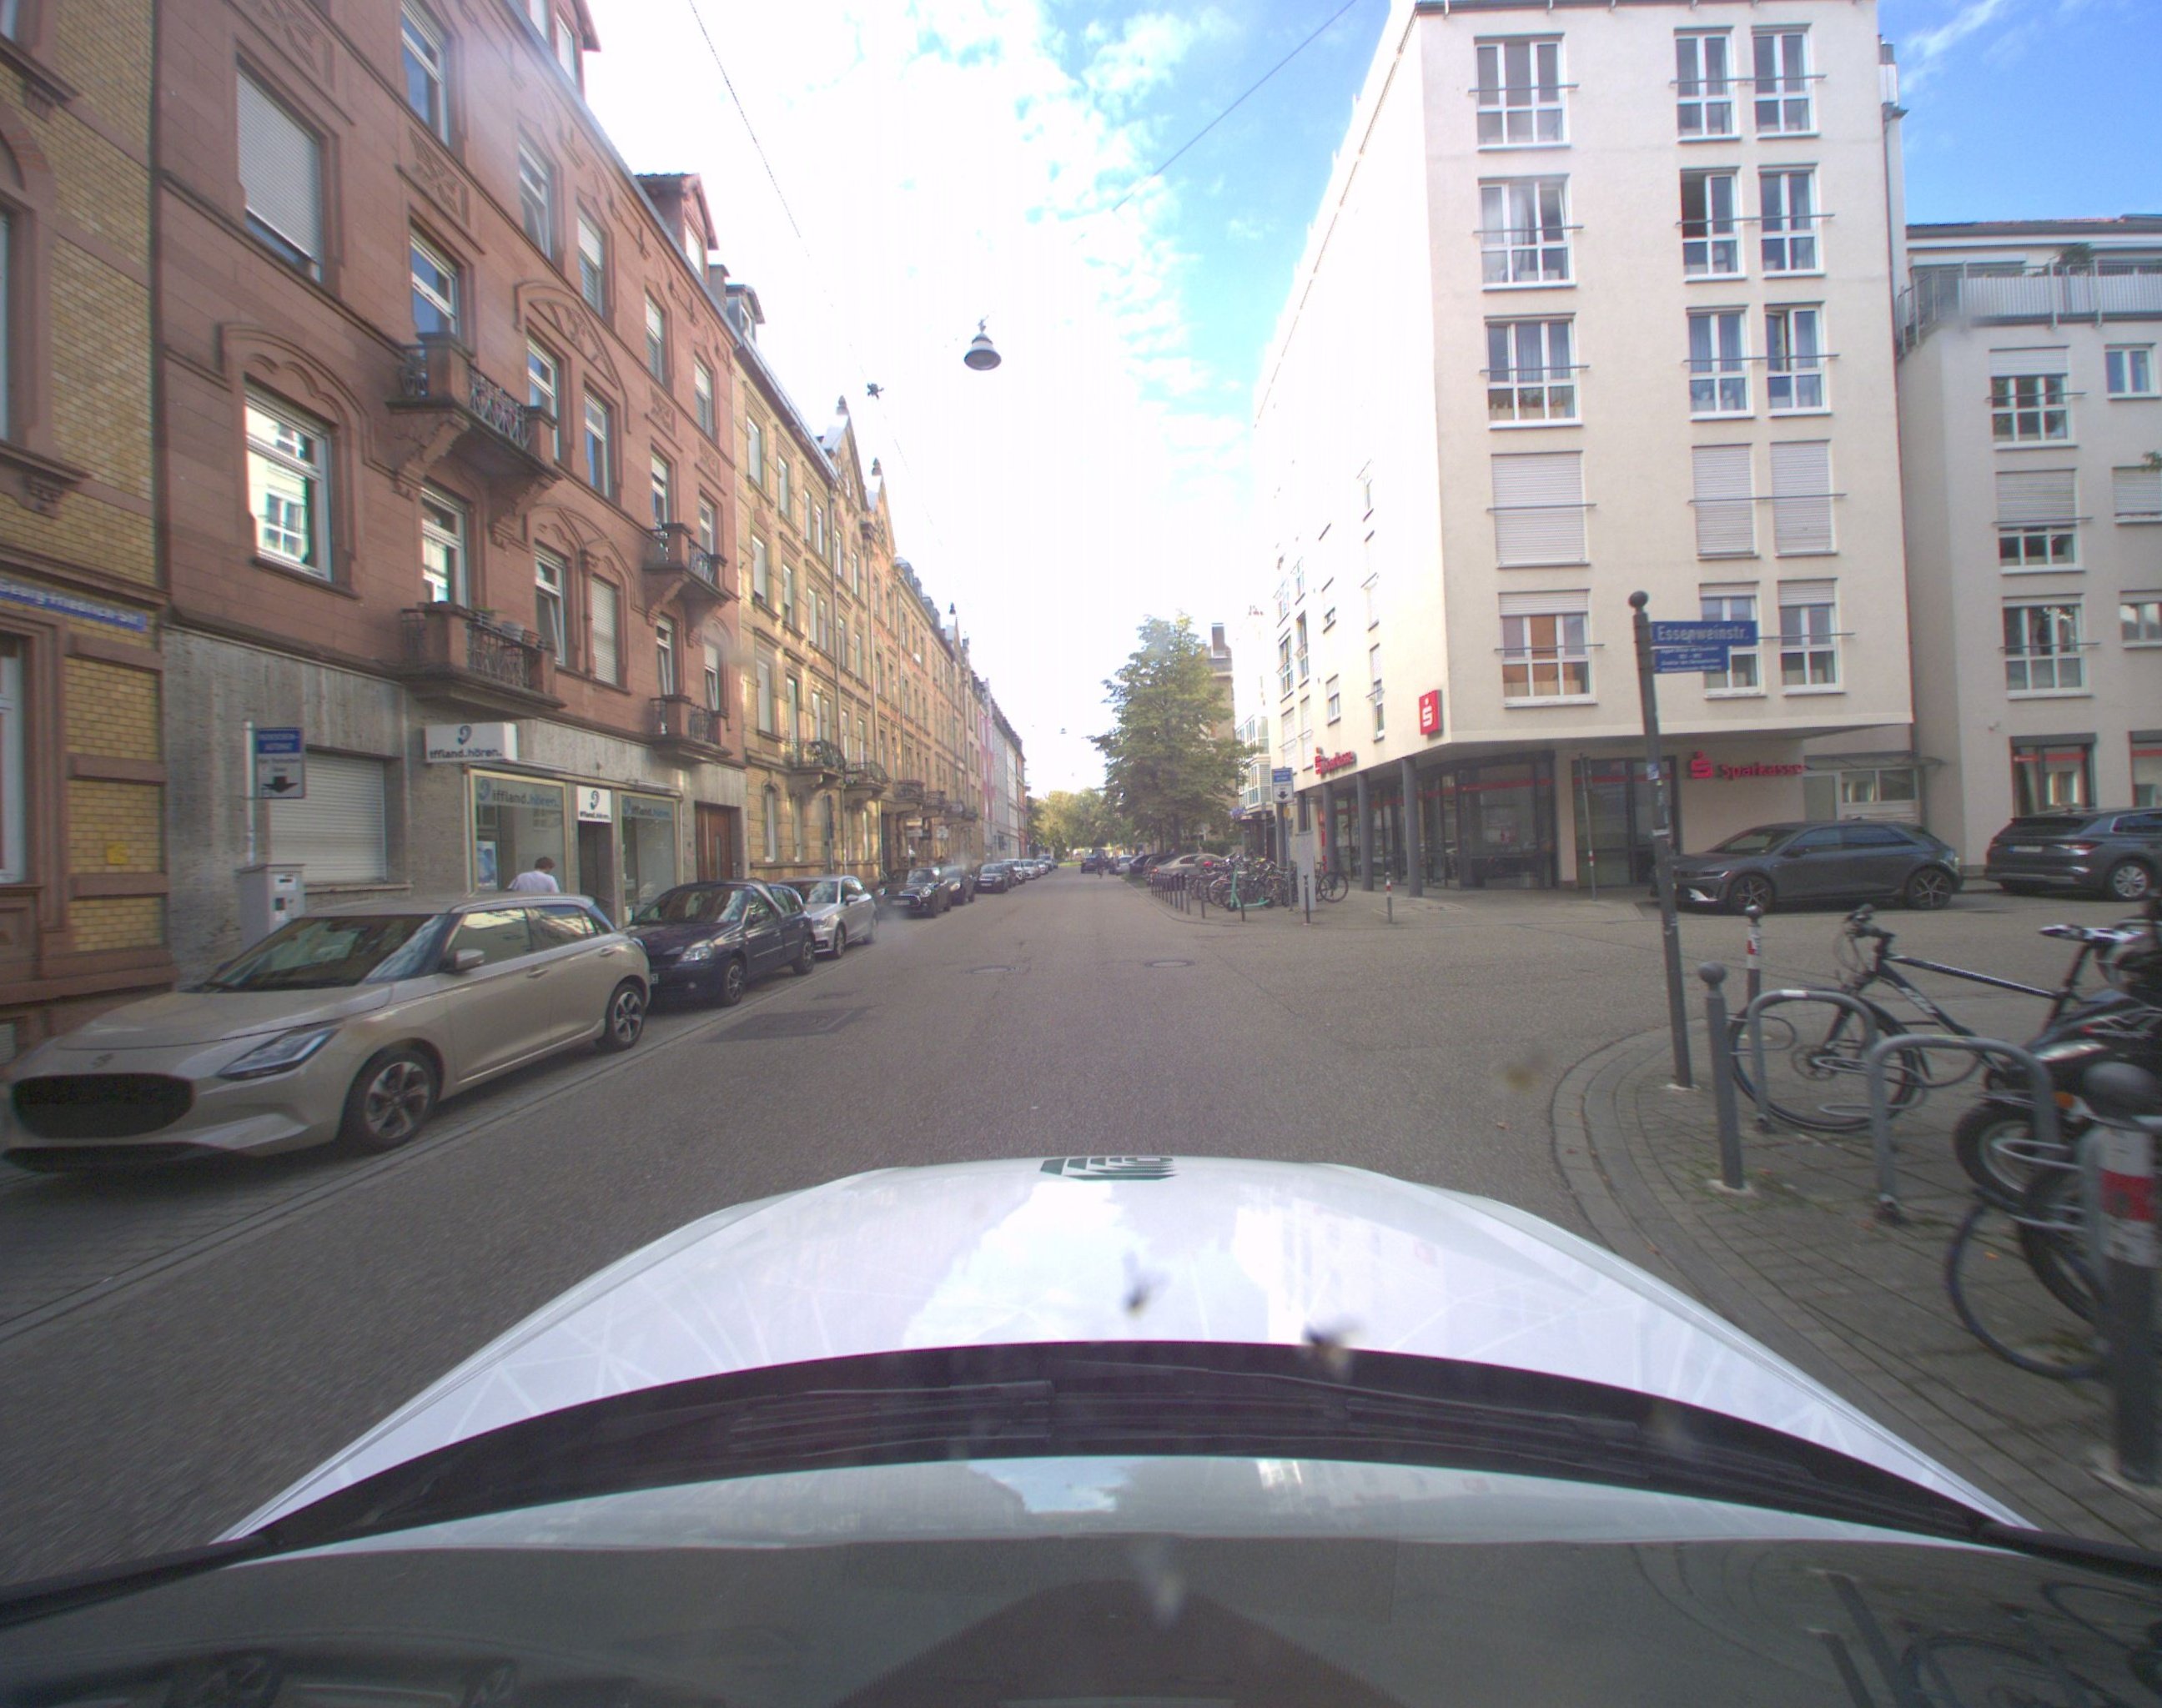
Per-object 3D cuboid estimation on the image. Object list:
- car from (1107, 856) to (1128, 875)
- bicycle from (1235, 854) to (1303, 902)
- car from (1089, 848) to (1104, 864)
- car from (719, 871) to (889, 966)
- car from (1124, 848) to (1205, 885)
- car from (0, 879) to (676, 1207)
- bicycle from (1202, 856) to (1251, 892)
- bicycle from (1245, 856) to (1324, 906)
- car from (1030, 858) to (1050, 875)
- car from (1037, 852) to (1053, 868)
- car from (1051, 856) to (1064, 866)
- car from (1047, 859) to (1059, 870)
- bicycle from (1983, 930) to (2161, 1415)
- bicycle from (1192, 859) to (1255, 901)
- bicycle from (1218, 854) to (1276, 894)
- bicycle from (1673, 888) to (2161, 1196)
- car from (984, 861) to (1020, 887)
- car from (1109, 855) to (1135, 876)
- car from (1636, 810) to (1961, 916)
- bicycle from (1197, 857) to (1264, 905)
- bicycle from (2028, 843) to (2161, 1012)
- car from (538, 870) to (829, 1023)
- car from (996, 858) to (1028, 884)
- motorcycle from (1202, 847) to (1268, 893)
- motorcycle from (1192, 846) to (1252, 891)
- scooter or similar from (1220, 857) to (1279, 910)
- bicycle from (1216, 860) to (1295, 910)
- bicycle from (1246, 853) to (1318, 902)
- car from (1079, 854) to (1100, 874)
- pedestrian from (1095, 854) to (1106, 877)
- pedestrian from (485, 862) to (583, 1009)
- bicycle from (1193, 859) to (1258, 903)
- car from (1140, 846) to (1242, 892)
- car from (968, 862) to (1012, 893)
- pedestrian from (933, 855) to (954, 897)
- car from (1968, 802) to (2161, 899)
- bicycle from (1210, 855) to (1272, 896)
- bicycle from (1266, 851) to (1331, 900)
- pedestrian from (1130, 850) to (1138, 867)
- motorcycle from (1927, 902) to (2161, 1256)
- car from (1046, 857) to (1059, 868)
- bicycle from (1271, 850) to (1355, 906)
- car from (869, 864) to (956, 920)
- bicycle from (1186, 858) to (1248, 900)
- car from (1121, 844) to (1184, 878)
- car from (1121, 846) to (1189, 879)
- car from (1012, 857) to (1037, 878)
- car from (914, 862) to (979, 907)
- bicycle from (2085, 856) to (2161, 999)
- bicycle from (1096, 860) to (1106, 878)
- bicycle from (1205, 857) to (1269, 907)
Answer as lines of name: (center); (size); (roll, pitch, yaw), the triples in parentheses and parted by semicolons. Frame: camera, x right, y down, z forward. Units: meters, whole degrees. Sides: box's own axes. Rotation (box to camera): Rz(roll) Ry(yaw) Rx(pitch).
car: (3.177, 0.976, 71.486); (1.684, 1.550, 3.689); (-1, 0, 1)
bicycle: (5.137, 0.645, 22.233); (1.772, 1.146, 0.408); (-5, 0, -20)
car: (2.056, 0.243, 108.164); (1.776, 2.020, 3.887); (-1, 0, 0)
car: (-4.871, 1.068, 14.900); (1.684, 1.386, 3.868); (-1, 0, 1)
car: (4.344, 0.638, 42.495); (3.968, 1.583, 2.003); (-5, 0, 5)
car: (-4.945, 1.019, 6.101); (1.735, 1.483, 3.984); (-1, 0, 1)
bicycle: (5.349, 0.719, 29.980); (1.658, 1.159, 0.557); (-5, 0, 2)
bicycle: (5.081, 0.660, 20.407); (1.758, 1.087, 0.650); (-5, 0, 2)
car: (-3.984, 1.223, 80.025); (1.685, 1.550, 3.866); (-1, 0, 0)
car: (-4.243, 0.744, 95.957); (1.685, 1.821, 3.866); (-1, 0, 0)
car: (-3.794, 1.130, 133.508); (1.848, 1.621, 4.001); (-1, 0, 1)
car: (-4.198, 1.557, 122.421); (1.581, 1.539, 3.755); (-1, 0, 2)
bicycle: (3.318, 0.754, 1.742); (1.747, 1.095, 0.688); (-4, -1, 43)
bicycle: (4.264, 0.773, 24.406); (1.758, 1.118, 0.412); (-5, 0, 3)
bicycle: (5.434, 0.655, 26.742); (1.726, 1.159, 0.500); (-5, 0, 1)
bicycle: (3.881, 0.733, 3.580); (1.938, 1.095, 0.694); (-4, -2, 43)
car: (-4.574, 1.148, 47.576); (1.685, 1.369, 3.867); (2, 0, 0)
car: (3.336, 0.934, 66.949); (1.923, 1.638, 4.001); (-1, 0, 1)
car: (13.046, 0.131, 15.012); (4.346, 1.630, 1.809); (-3, 2, 1)
bicycle: (4.091, 0.718, 22.298); (1.772, 1.146, 0.408); (-5, 0, -20)
bicycle: (7.932, 0.508, 5.532); (0.533, 1.191, 1.928); (-2, -1, -8)
car: (-4.827, 1.020, 10.614); (1.735, 1.483, 3.984); (-1, 0, 1)
car: (-4.455, 1.049, 52.711); (1.685, 1.550, 3.867); (-2, 0, 0)
motorcycle: (5.395, 0.556, 28.637); (2.140, 1.434, 0.766); (-5, 0, 4)
motorcycle: (5.458, 0.557, 31.654); (2.140, 1.530, 0.687); (-5, 0, 4)
scooter or similar: (3.964, 0.705, 19.150); (1.194, 1.147, 0.381); (-5, 1, 32)
bicycle: (4.235, 0.741, 19.763); (1.763, 1.056, 0.411); (-5, 0, -5)
bicycle: (5.353, 0.618, 21.730); (1.763, 1.146, 0.410); (-5, 0, -6)
car: (0.818, 0.992, 78.474); (1.958, 1.741, 4.041); (-2, -1, 0)
pedestrian: (1.443, 0.805, 59.662); (0.715, 1.650, 0.930); (-1, 0, 1)
pedestrian: (-6.942, 1.005, 10.371); (0.730, 1.790, 0.770); (1, 0, -6)
bicycle: (4.196, 0.776, 23.661); (1.758, 1.099, 0.412); (-5, 0, 3)
car: (4.518, 0.625, 33.805); (3.761, 1.546, 1.725); (-4, -1, -10)
car: (-4.447, 1.145, 40.425); (1.685, 1.369, 3.867); (2, 0, 0)
pedestrian: (-6.144, 0.966, 36.473); (0.686, 1.853, 0.932); (-1, 0, 2)
car: (18.859, -0.106, 14.786); (3.589, 1.567, 1.644); (-3, 2, 4)
bicycle: (5.049, 0.687, 25.749); (1.777, 1.159, 0.503); (-5, 0, 26)
bicycle: (5.647, 0.556, 21.192); (1.490, 1.146, 0.411); (-5, 0, 0)
pedestrian: (7.118, 0.570, 109.642); (0.992, 2.230, 0.899); (-1, 0, 1)
motorcycle: (3.961, 0.723, 2.608); (1.644, 1.095, 0.612); (-4, -1, 43)
car: (-3.917, 1.167, 111.566); (1.685, 1.550, 3.866); (-1, 0, 0)
bicycle: (5.499, 0.565, 19.361); (1.758, 1.162, 0.650); (-5, 0, 2)
car: (-4.852, 1.052, 23.945); (1.684, 1.386, 3.867); (-1, 0, 0)
bicycle: (4.214, 0.775, 25.341); (1.787, 1.159, 0.500); (-5, 0, 3)
car: (4.792, 0.445, 54.736); (3.969, 1.683, 1.740); (-5, 8, 4)
car: (4.509, 0.519, 49.626); (3.968, 1.640, 2.003); (-5, 0, 5)
car: (-4.450, 1.028, 64.518); (1.685, 1.550, 3.866); (-1, 0, 0)
car: (-4.866, 1.071, 29.936); (1.684, 1.437, 3.867); (-1, 0, 0)
bicycle: (8.456, 0.538, 5.627); (0.444, 1.064, 1.922); (-2, -1, -7)
bicycle: (1.449, 1.109, 59.701); (0.715, 1.274, 1.884); (-1, 0, 1)
bicycle: (4.039, 0.721, 21.146); (1.493, 1.146, 0.411); (-5, 0, -5)
